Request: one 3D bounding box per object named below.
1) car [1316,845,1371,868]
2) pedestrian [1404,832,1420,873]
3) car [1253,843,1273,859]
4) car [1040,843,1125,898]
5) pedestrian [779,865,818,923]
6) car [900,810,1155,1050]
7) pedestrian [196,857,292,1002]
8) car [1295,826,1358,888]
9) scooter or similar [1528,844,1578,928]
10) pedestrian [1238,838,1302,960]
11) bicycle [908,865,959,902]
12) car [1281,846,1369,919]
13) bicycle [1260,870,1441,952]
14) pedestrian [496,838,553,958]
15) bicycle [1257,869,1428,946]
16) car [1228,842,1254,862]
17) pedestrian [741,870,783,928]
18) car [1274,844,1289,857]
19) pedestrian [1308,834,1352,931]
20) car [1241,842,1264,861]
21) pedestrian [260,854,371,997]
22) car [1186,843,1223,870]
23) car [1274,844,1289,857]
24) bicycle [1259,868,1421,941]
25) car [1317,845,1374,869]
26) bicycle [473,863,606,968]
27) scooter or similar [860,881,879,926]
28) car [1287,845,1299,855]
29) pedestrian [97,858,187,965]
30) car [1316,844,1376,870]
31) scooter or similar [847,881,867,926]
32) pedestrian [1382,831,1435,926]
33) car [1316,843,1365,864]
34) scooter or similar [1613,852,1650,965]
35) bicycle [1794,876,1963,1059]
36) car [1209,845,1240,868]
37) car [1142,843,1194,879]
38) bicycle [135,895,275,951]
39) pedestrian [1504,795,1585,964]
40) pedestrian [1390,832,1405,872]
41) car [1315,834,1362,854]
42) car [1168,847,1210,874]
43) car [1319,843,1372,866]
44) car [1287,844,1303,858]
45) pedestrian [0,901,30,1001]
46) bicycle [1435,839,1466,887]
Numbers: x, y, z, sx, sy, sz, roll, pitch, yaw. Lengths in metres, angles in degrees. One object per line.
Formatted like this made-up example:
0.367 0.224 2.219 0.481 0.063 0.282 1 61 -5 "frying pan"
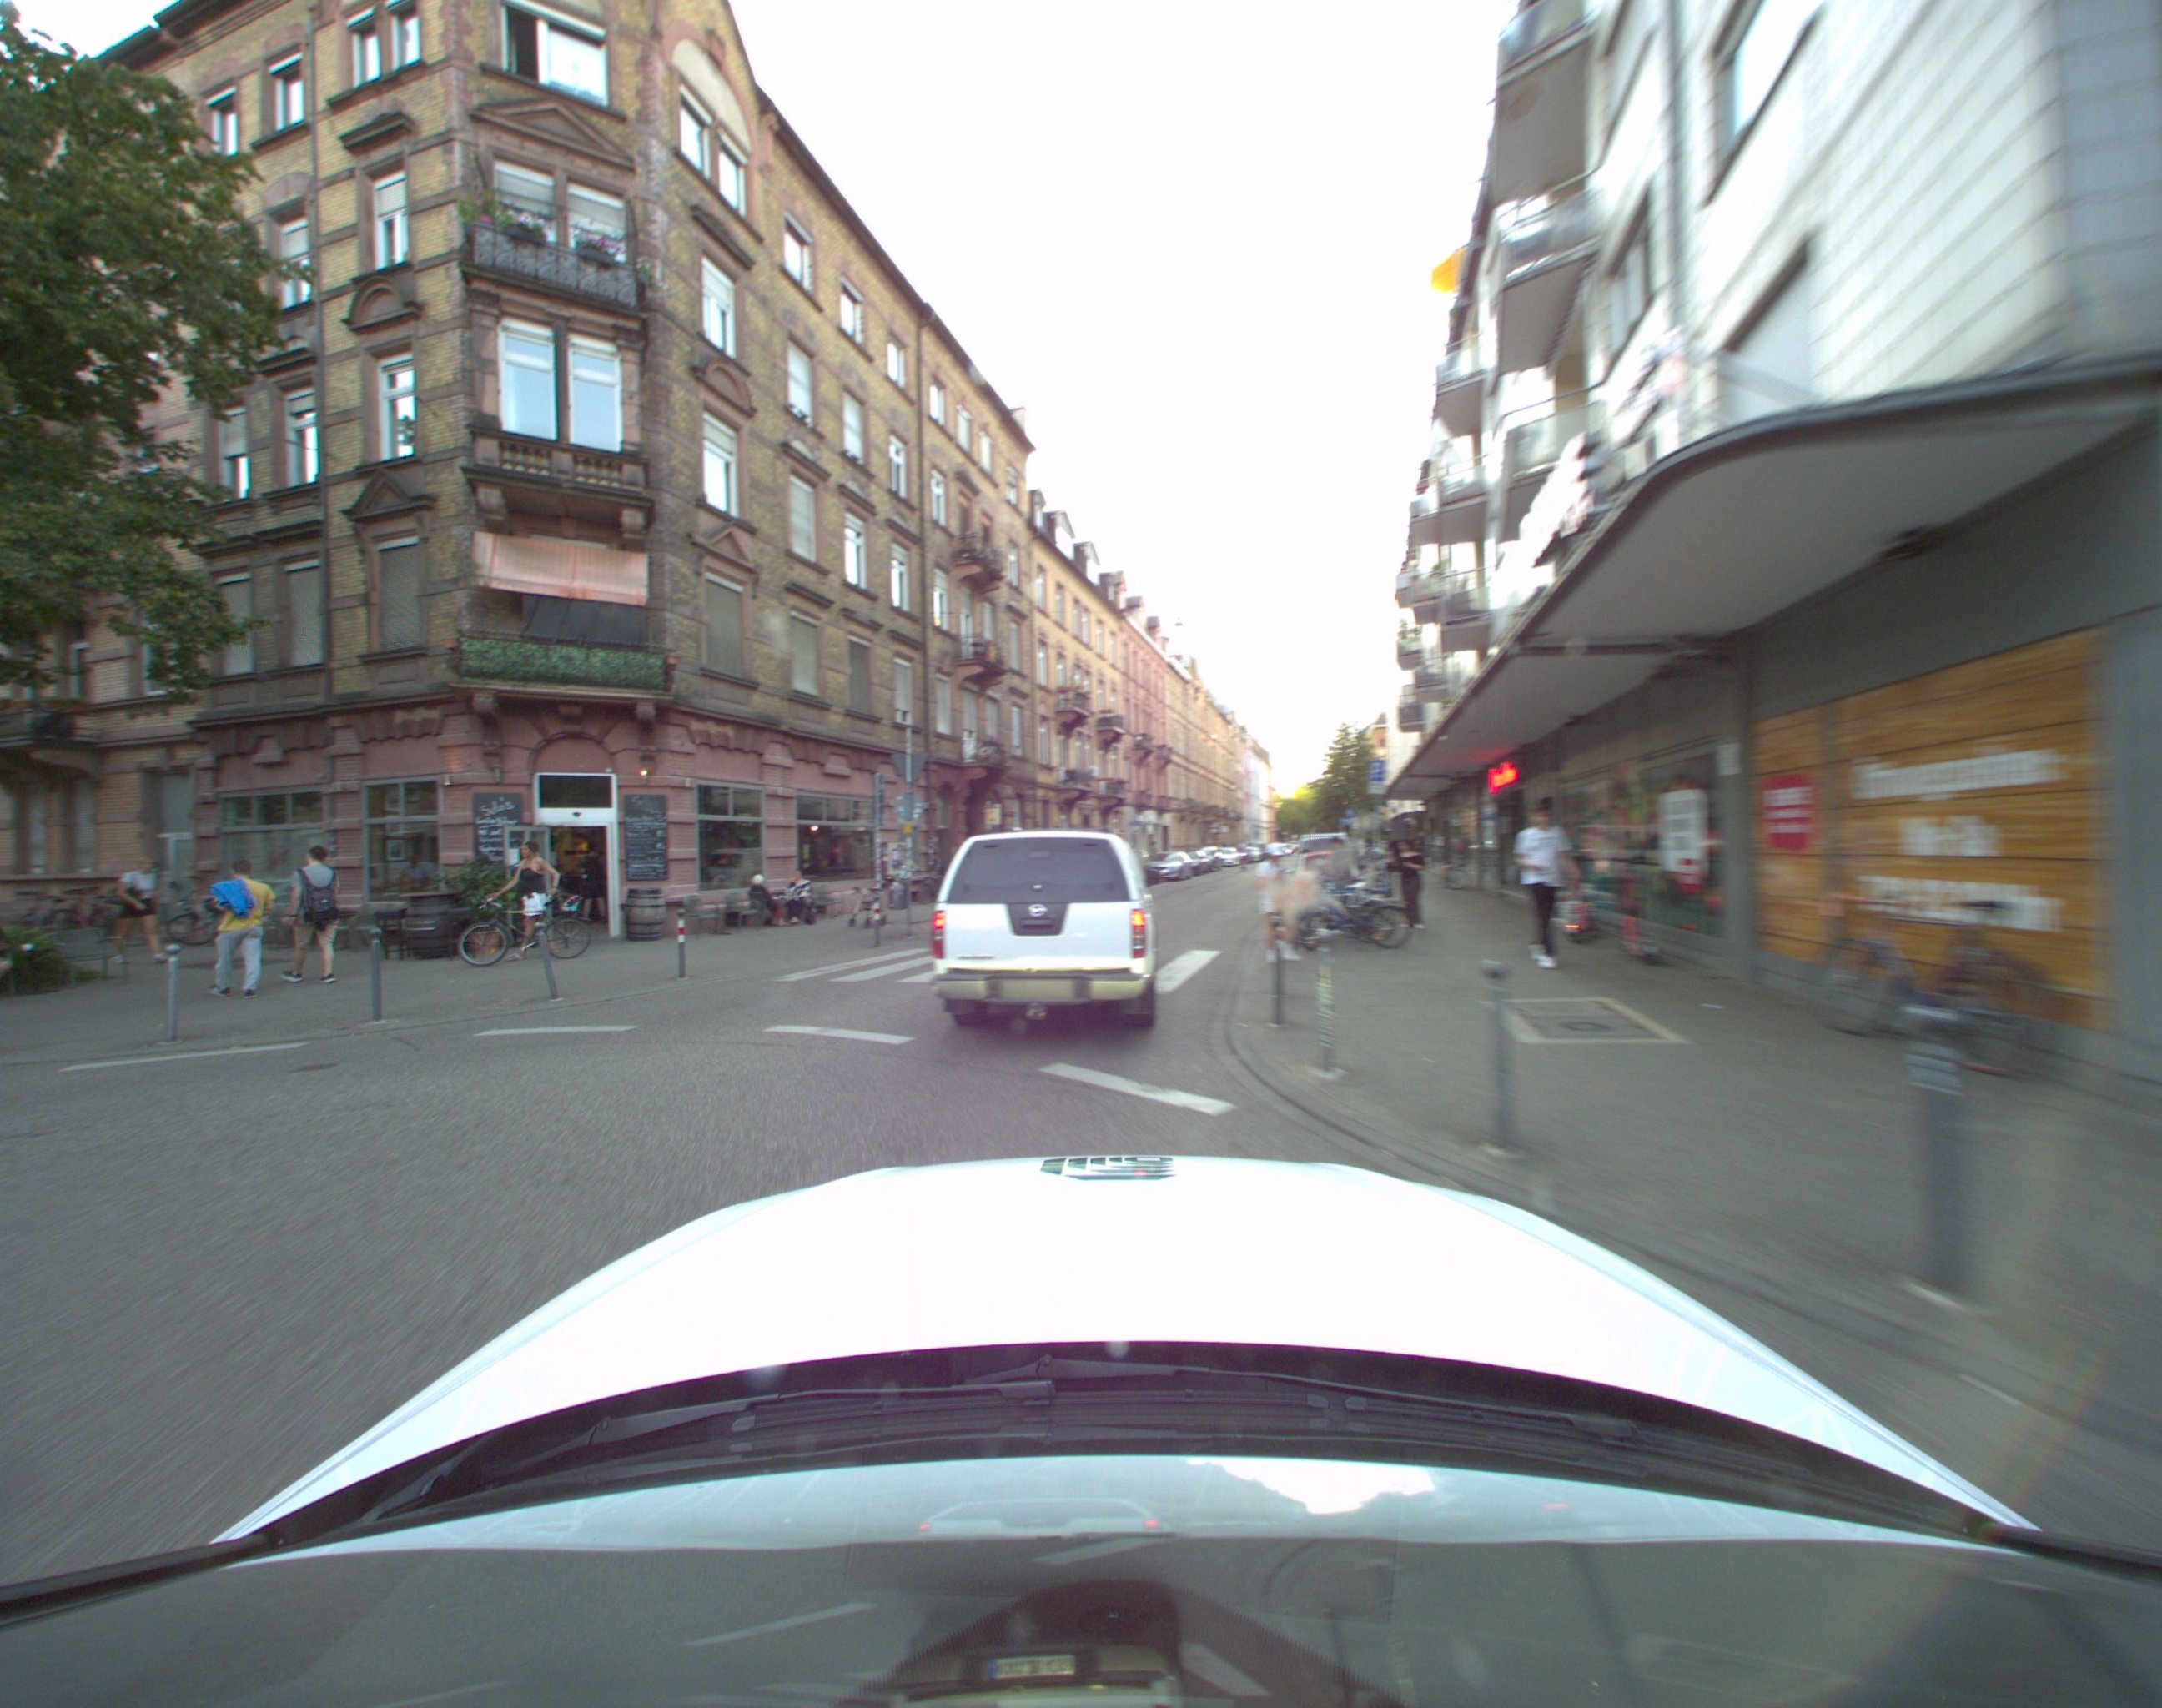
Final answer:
20.105 0.170 62.463 3.956 1.750 1.849 0 0 17 "car"
14.940 -0.081 36.758 0.629 1.811 0.487 0 0 31 "pedestrian"
20.691 -0.351 92.517 1.820 1.750 4.018 0 0 17 "car"
0.149 0.520 27.972 1.820 1.750 4.018 0 0 17 "car"
-6.424 0.898 18.539 0.644 1.285 0.542 0 0 14 "pedestrian"
-0.199 0.603 8.785 1.929 1.810 5.008 -2 0 5 "car"
-10.558 0.907 10.279 0.895 1.736 0.619 0 0 28 "pedestrian"
8.444 0.080 27.970 1.927 1.933 4.018 0 0 17 "car"
7.727 0.485 13.374 0.436 1.290 1.676 0 0 20 "scooter or similar"
2.657 0.602 11.384 0.792 1.621 0.948 -1 0 16 "pedestrian"
-4.564 0.893 25.351 0.384 1.036 2.494 0 0 19 "bicycle"
5.860 0.593 19.538 1.820 1.541 4.018 0 0 17 "car"
3.957 0.849 12.145 2.444 1.038 0.619 -4 -1 13 "bicycle"
-8.688 0.668 12.732 0.503 1.840 0.572 0 0 -5 "pedestrian"
4.069 0.837 12.826 2.444 1.038 0.619 -4 -1 13 "bicycle"
14.084 -0.180 71.347 1.820 1.750 4.018 0 0 17 "car"
-6.817 0.952 17.414 0.644 1.191 0.542 0 0 14 "pedestrian"
27.279 -0.472 110.853 1.820 1.750 4.018 0 0 17 "car"
4.405 0.481 14.390 0.714 1.663 0.706 0 0 18 "pedestrian"
16.648 -0.261 78.767 1.820 1.750 4.018 0 0 17 "car"
-10.404 0.938 11.093 0.904 1.885 0.613 0 0 -13 "pedestrian"
8.003 0.149 52.559 1.820 1.678 4.055 0 0 17 "car"
28.758 -0.511 116.908 1.820 1.750 4.018 0 0 17 "car"
4.239 0.832 13.477 2.444 1.038 0.619 -4 -1 13 "bicycle"
19.404 0.187 59.881 3.956 1.750 1.849 0 0 17 "car"
-8.211 0.878 12.465 0.421 1.442 1.911 0 0 14 "bicycle"
-4.701 1.082 18.116 0.233 0.929 1.263 0 0 -7 "scooter or similar"
36.042 -0.652 138.358 1.820 1.750 4.018 0 0 17 "car"
-15.737 0.933 13.663 0.912 1.725 0.671 0 0 17 "pedestrian"
18.769 0.201 57.724 3.956 1.750 1.849 0 0 17 "car"
-4.960 1.082 18.077 0.233 0.929 1.263 0 0 -7 "scooter or similar"
5.910 0.420 14.689 0.713 1.663 0.707 0 0 38 "pedestrian"
22.151 -0.072 69.510 3.956 1.750 1.849 0 0 17 "car"
6.494 0.614 9.626 0.217 1.237 0.972 0 2 25 "scooter or similar"
5.428 0.727 5.596 0.287 1.112 0.968 0 0 6 "bicycle"
10.993 0.173 62.327 1.820 1.750 4.018 0 0 17 "car"
4.476 0.329 41.414 1.820 1.750 4.181 0 0 17 "car"
-17.001 1.316 15.793 2.874 0.958 0.628 0 0 17 "bicycle"
5.456 0.287 9.630 0.714 1.906 0.706 0 0 18 "pedestrian"
14.489 -0.084 37.295 0.621 1.811 0.793 0 0 18 "pedestrian"
22.844 -0.904 72.368 3.956 1.750 1.849 0 0 17 "car"
6.372 0.345 47.757 1.820 1.546 4.055 0 0 17 "car"
21.157 0.027 65.204 3.956 1.750 1.849 0 0 17 "car"
27.319 -0.431 104.043 1.820 1.750 4.018 0 0 17 "car"
-14.311 1.268 10.519 0.748 1.262 0.671 0 0 17 "pedestrian"
11.342 0.268 25.021 0.551 1.408 2.104 0 0 16 "bicycle"
